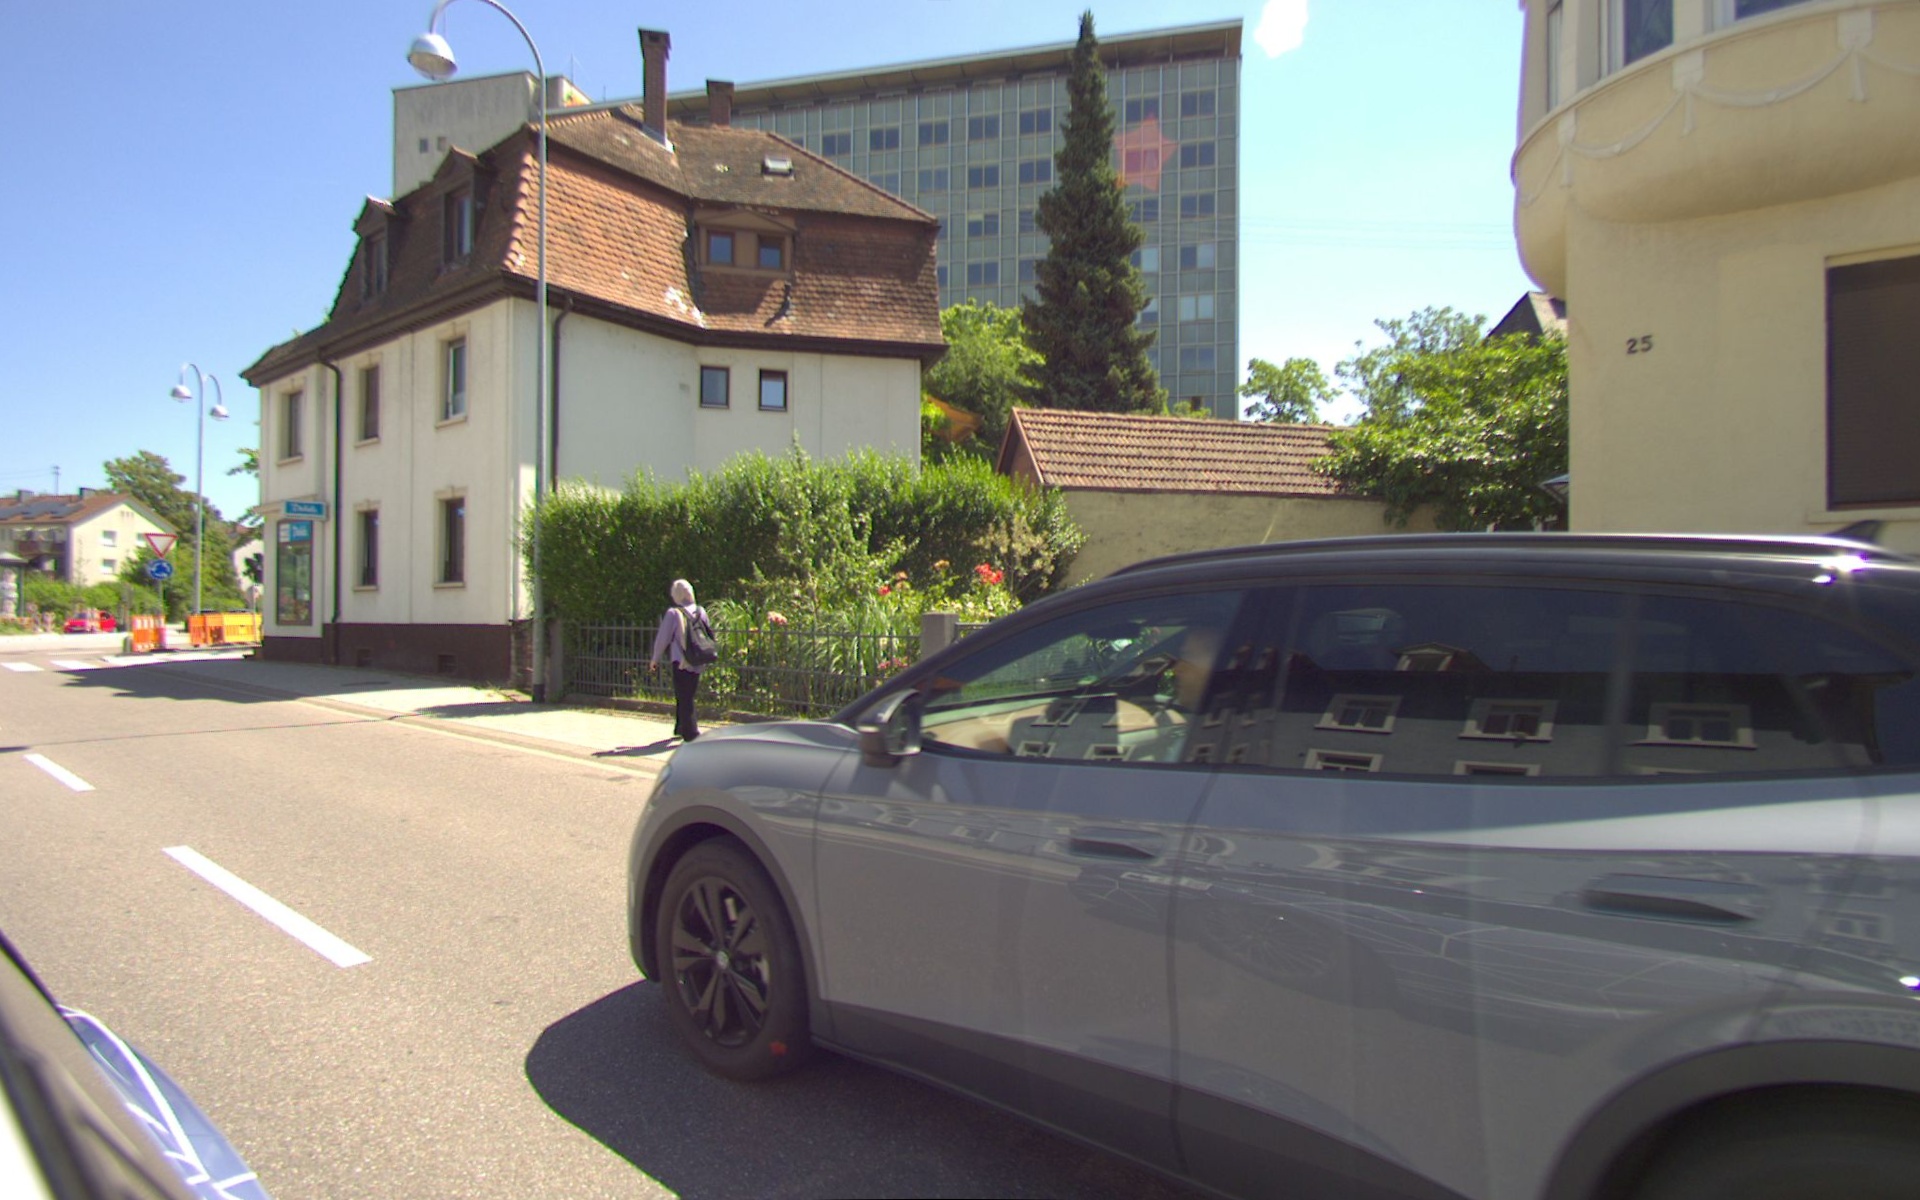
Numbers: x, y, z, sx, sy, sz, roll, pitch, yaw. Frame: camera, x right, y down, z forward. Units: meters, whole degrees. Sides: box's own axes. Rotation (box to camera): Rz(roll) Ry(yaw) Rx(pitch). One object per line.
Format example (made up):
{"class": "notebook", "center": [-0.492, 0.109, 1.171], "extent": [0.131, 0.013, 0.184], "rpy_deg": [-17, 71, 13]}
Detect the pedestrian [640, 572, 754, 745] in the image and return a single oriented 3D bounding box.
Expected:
{"class": "pedestrian", "center": [-2.566, 0.546, 9.863], "extent": [0.823, 1.576, 0.607], "rpy_deg": [-1, 4, 38]}

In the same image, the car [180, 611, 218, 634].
{"class": "car", "center": [-46.287, 1.328, 61.578], "extent": [1.703, 1.305, 4.010], "rpy_deg": [-1, 0, -35]}

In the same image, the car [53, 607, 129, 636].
{"class": "car", "center": [-50.823, 1.239, 59.252], "extent": [1.708, 1.613, 3.946], "rpy_deg": [-1, 0, -12]}

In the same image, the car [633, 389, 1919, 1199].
{"class": "car", "center": [1.132, 0.554, 2.642], "extent": [4.294, 1.629, 1.834], "rpy_deg": [-1, -1, 41]}

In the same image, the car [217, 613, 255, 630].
{"class": "car", "center": [-57.274, 1.704, 80.118], "extent": [1.754, 1.366, 4.067], "rpy_deg": [1, -1, -25]}

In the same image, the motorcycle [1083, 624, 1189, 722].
{"class": "motorcycle", "center": [2.180, 0.872, 12.856], "extent": [0.705, 1.114, 2.148], "rpy_deg": [0, -1, -7]}

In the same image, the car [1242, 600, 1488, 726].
{"class": "car", "center": [5.438, 0.756, 13.313], "extent": [1.867, 1.391, 3.946], "rpy_deg": [-1, -2, 40]}
